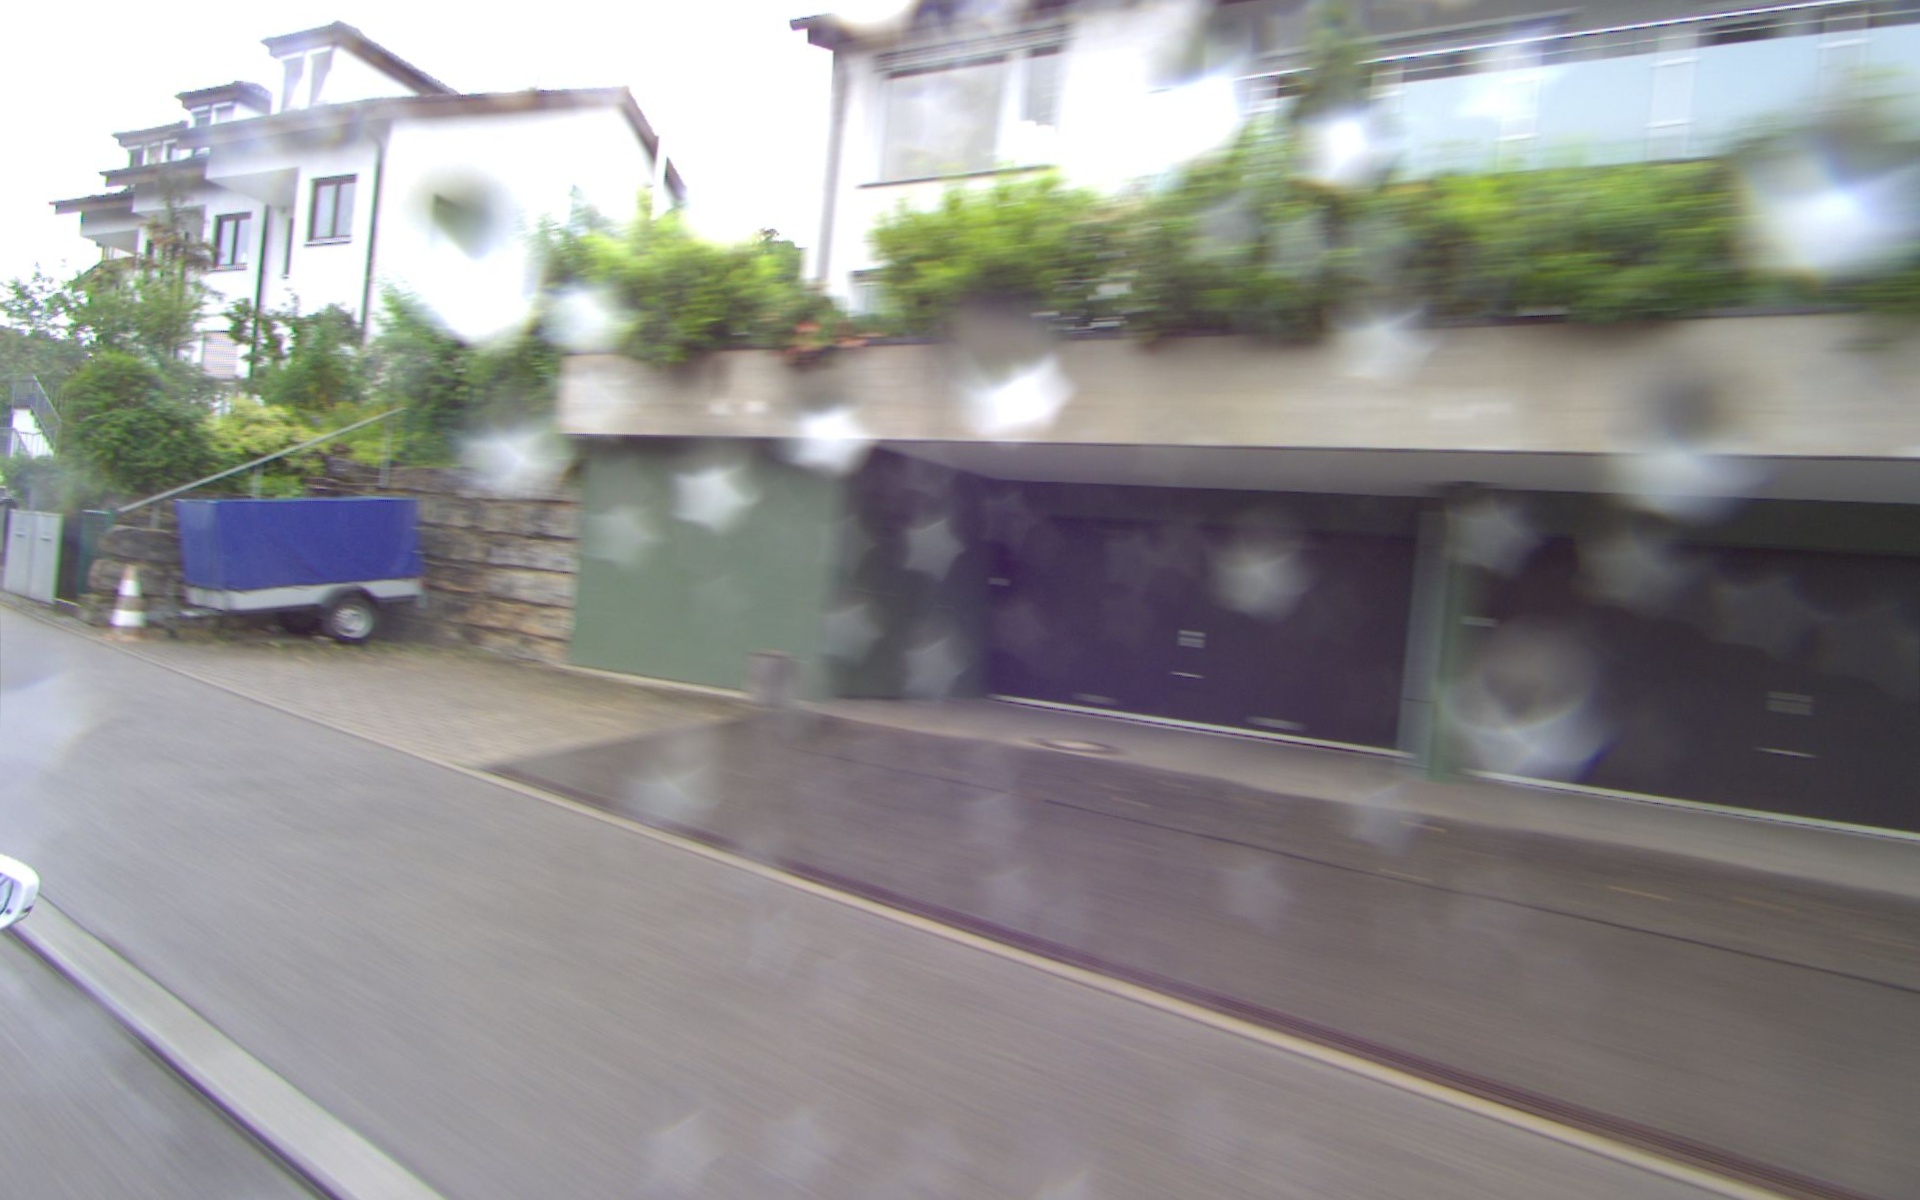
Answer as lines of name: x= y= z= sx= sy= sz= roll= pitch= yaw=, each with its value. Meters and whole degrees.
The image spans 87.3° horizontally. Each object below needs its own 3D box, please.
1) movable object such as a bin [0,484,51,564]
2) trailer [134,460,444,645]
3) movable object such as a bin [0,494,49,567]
movable object such as a bin: x=-13.456 y=-1.088 z=14.410 sx=0.568 sy=1.060 sz=0.491 roll=8 pitch=1 yaw=38
trailer: x=-7.868 y=-0.521 z=11.892 sx=1.968 sy=1.769 sz=2.355 roll=7 pitch=0 yaw=34
movable object such as a bin: x=-13.029 y=-0.958 z=13.927 sx=0.450 sy=0.934 sz=0.491 roll=8 pitch=1 yaw=38
